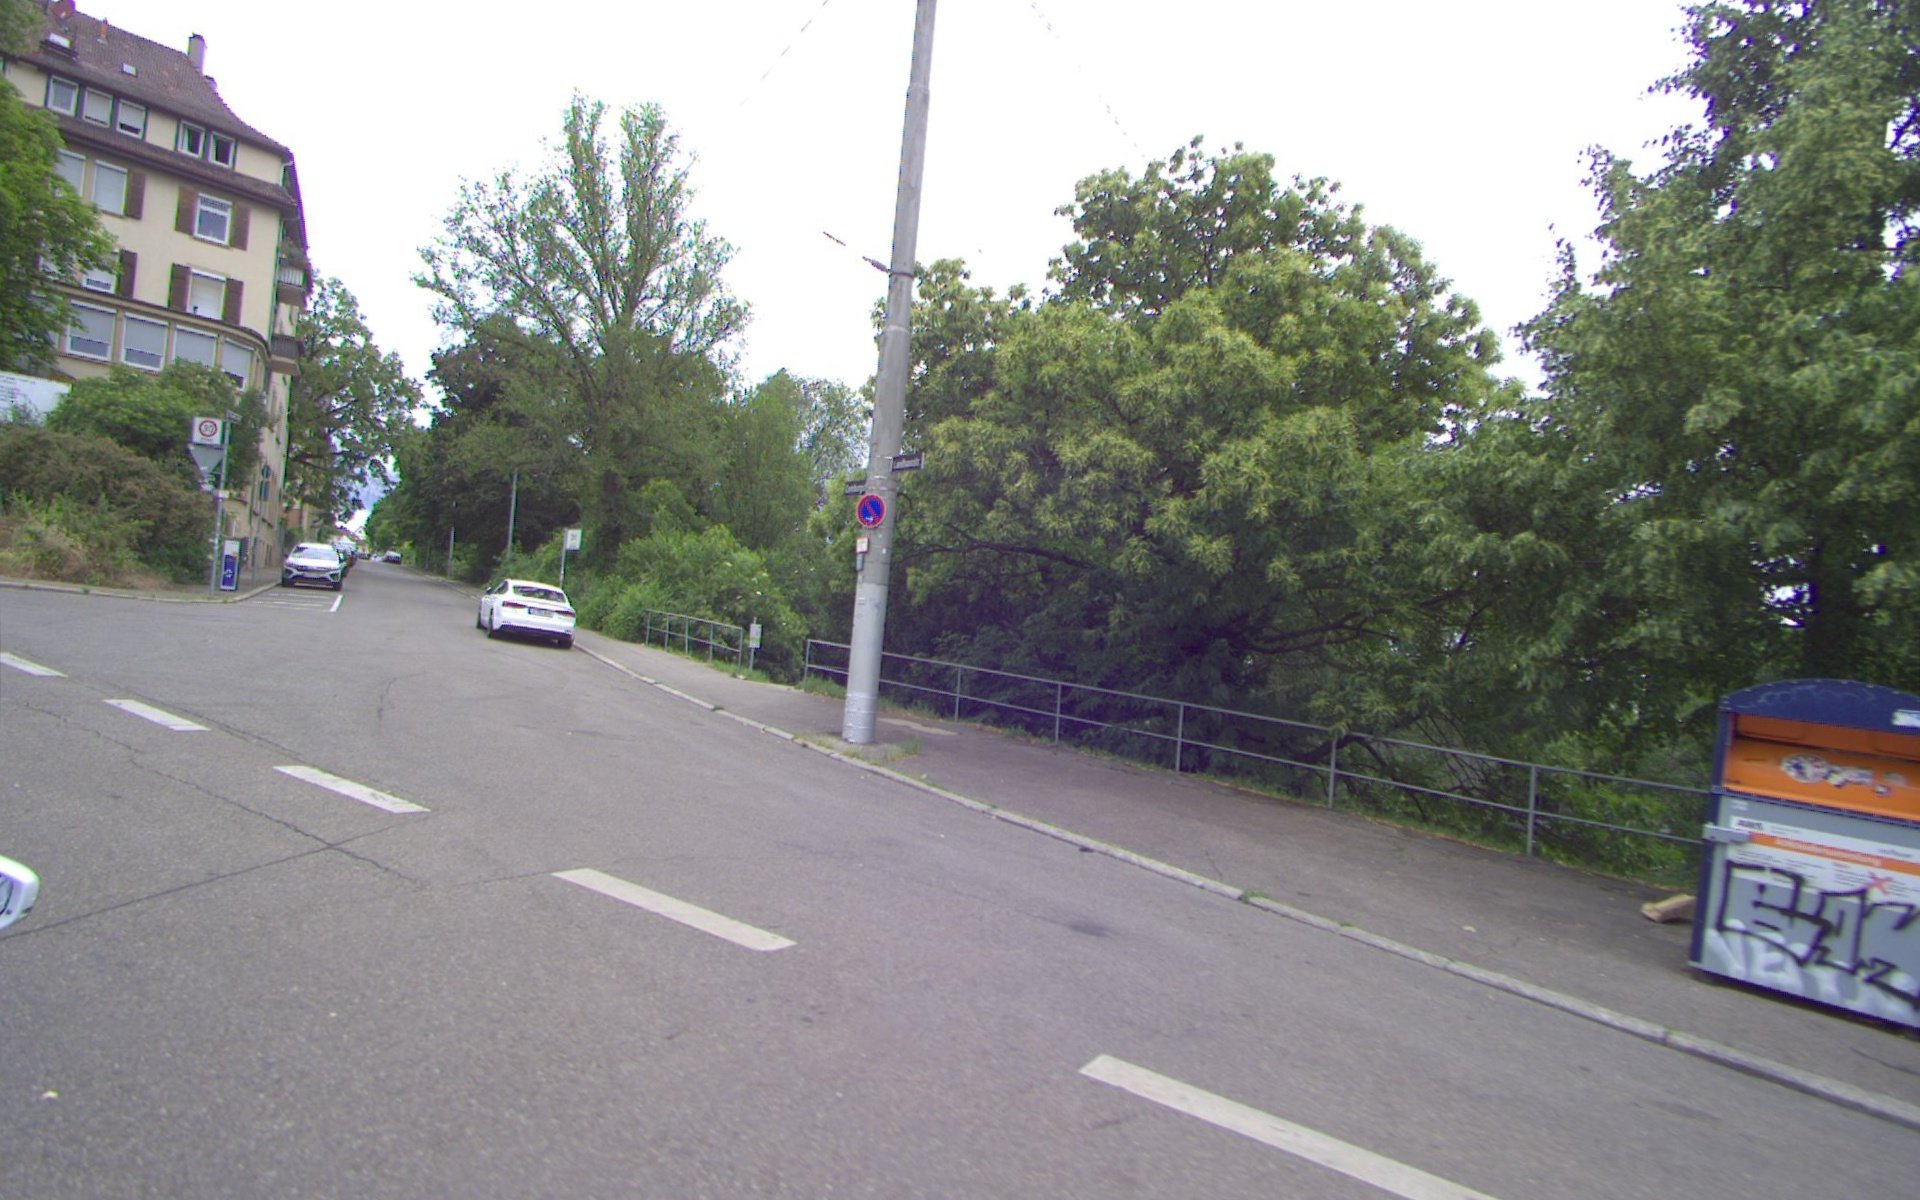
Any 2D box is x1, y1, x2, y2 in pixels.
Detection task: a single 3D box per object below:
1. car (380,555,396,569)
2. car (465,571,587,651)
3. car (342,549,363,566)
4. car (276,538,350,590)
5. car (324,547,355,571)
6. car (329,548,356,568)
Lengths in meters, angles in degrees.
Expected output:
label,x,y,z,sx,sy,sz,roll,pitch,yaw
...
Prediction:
label,x,y,z,sx,sy,sz,roll,pitch,yaw
car,-74.245,-4.971,130.613,1.730,1.560,3.759,6,-1,-30
car,-10.460,0.204,24.051,1.883,1.396,4.562,11,-3,-31
car,-64.315,-4.459,106.594,1.730,1.560,3.759,6,-1,-30
car,-23.328,-1.286,36.424,1.826,1.552,4.472,7,-1,-29
car,-45.797,-3.030,74.332,1.730,1.560,3.759,6,-1,-30
car,-53.529,-3.620,87.268,1.730,1.560,3.759,6,-1,-30
